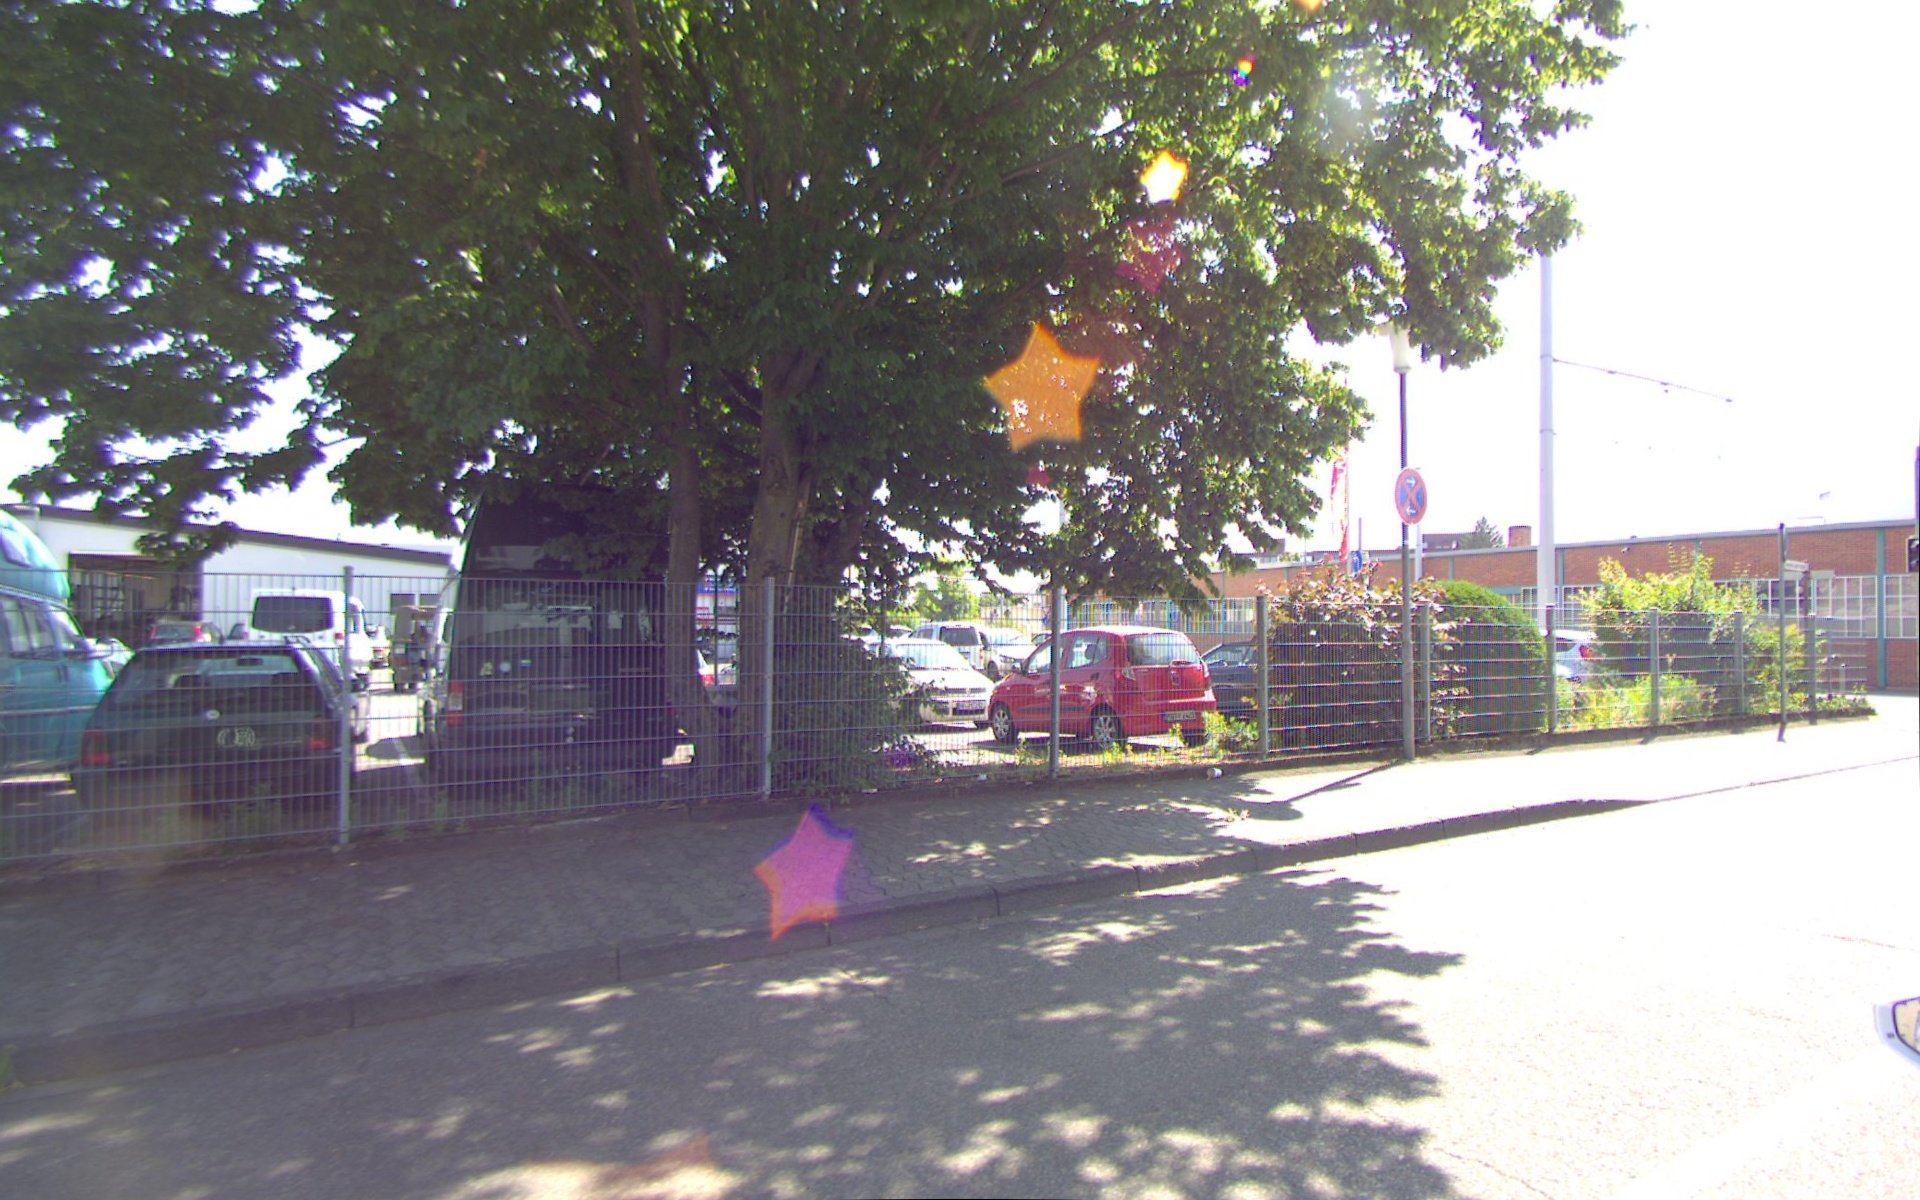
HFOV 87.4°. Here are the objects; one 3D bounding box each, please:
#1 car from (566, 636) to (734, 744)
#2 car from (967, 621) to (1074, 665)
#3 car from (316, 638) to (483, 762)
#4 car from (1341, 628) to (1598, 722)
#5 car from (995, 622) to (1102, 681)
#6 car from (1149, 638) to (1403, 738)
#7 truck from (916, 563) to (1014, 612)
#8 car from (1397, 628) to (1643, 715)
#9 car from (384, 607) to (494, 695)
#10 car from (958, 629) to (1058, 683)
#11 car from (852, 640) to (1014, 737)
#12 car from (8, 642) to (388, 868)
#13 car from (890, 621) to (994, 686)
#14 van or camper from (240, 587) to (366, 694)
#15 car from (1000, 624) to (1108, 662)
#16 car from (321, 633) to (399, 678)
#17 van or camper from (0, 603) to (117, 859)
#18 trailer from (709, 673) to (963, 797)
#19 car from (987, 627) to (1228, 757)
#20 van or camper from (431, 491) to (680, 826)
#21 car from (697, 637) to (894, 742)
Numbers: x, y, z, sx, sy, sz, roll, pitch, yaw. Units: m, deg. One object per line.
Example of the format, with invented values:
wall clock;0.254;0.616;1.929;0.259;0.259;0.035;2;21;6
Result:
car;-5.001;1.313;15.891;1.666;1.471;3.753;1;-2;-31
car;2.469;1.752;41.043;3.947;1.728;1.987;1;-2;-26
car;-7.537;1.206;13.416;1.712;1.396;3.605;1;-2;-32
car;9.251;1.301;18.516;1.786;1.532;3.873;1;-2;-32
car;2.952;1.732;34.313;1.973;1.873;3.976;2;-2;-24
car;4.902;1.312;16.092;1.745;1.384;3.751;1;-2;-28
truck;0.395;-1.027;81.923;7.820;3.832;2.480;0;-2;-1
car;10.926;1.336;19.861;1.786;1.532;3.873;1;-2;-32
car;-13.291;1.287;25.893;2.028;2.040;4.558;1;-2;-22
car;1.448;1.741;32.004;1.829;1.588;3.917;1;-2;-20
car;-0.544;1.449;17.424;1.632;1.492;3.058;1;-2;-28
car;-6.014;1.060;8.474;1.836;1.405;3.902;1;-2;-27
car;-0.619;1.607;30.745;1.899;1.846;4.020;1;-2;-22
van or camper;-15.892;0.976;24.534;1.757;2.336;4.576;2;-2;-24
car;3.588;1.625;38.507;3.784;1.388;1.738;1;-2;-25
car;-20.670;1.888;34.725;1.684;1.441;3.565;1;-2;-21
van or camper;-8.572;0.998;8.170;1.752;1.888;4.165;2;0;-28
trailer;-1.435;1.311;10.581;1.592;0.952;3.269;1;-2;-28
car;1.839;1.146;13.432;1.499;1.504;3.365;2;-3;-28
van or camper;-4.347;0.556;10.311;1.823;2.610;4.637;2;-3;-28
car;-2.938;1.418;17.264;1.954;1.568;3.965;1;-2;-33
